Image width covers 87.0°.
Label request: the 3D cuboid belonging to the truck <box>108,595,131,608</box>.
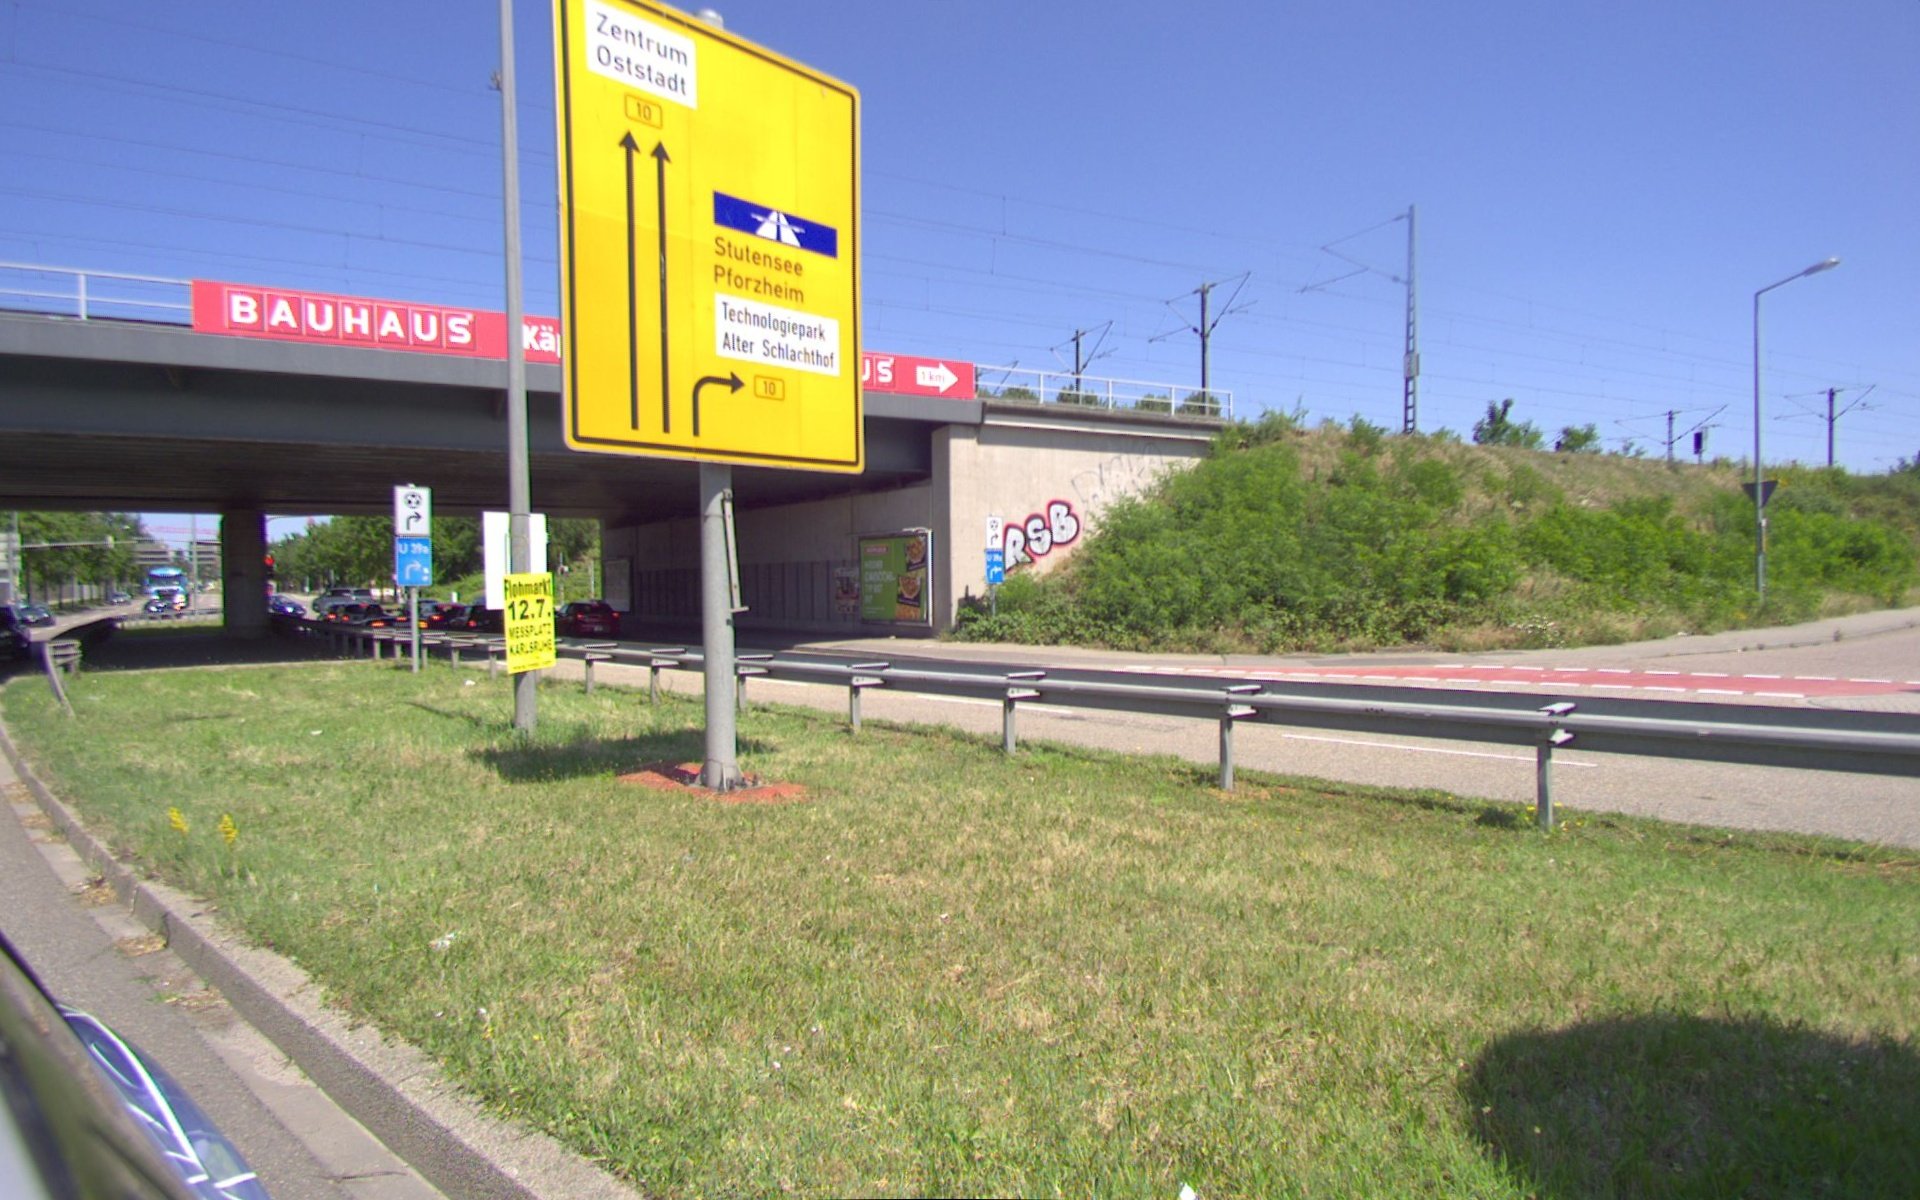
[{"bbox_3d":[-97.645,0.193,117.590,1.704,1.513,4.009,-1,0,-36],"label":"truck"}]

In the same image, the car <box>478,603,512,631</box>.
[{"bbox_3d":[-22.069,0.780,48.020,1.166,1.257,2.700,-1,0,-31],"label":"car"}]

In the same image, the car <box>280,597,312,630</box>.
[{"bbox_3d":[-43.092,0.865,65.662,1.652,2.029,4.011,-1,0,-34],"label":"car"}]

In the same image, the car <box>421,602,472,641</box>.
[{"bbox_3d":[-20.815,0.853,40.945,1.593,1.487,3.443,-1,0,-31],"label":"car"}]

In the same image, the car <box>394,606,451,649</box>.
[{"bbox_3d":[-24.955,1.215,46.938,1.877,1.874,4.010,-1,0,-35],"label":"car"}]

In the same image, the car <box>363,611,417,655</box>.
[{"bbox_3d":[-18.627,1.029,33.035,1.389,1.329,3.270,-1,0,-32],"label":"car"}]

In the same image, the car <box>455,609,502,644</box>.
[{"bbox_3d":[-17.300,0.928,36.308,1.250,1.194,2.786,-1,0,-31],"label":"car"}]

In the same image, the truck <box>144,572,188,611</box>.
[{"bbox_3d":[-72.846,-0.749,92.965,2.973,3.443,6.581,-1,0,-36],"label":"truck"}]

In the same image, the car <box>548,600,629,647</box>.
[{"bbox_3d":[-14.060,0.852,38.179,1.749,1.680,4.023,-1,0,-37],"label":"car"}]

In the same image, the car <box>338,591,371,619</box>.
[{"bbox_3d":[-46.344,0.365,77.426,1.967,2.029,4.011,-1,0,-34],"label":"car"}]

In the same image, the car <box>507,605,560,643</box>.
[{"bbox_3d":[-17.974,0.980,42.573,1.548,1.514,3.417,-1,0,-31],"label":"car"}]

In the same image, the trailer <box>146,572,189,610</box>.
[{"bbox_3d":[-76.527,-0.783,97.927,2.917,3.398,13.925,-1,0,-37],"label":"trailer"}]

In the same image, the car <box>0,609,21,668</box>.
[{"bbox_3d":[-29.671,1.153,30.566,1.820,1.708,3.702,-1,0,-44],"label":"car"}]
